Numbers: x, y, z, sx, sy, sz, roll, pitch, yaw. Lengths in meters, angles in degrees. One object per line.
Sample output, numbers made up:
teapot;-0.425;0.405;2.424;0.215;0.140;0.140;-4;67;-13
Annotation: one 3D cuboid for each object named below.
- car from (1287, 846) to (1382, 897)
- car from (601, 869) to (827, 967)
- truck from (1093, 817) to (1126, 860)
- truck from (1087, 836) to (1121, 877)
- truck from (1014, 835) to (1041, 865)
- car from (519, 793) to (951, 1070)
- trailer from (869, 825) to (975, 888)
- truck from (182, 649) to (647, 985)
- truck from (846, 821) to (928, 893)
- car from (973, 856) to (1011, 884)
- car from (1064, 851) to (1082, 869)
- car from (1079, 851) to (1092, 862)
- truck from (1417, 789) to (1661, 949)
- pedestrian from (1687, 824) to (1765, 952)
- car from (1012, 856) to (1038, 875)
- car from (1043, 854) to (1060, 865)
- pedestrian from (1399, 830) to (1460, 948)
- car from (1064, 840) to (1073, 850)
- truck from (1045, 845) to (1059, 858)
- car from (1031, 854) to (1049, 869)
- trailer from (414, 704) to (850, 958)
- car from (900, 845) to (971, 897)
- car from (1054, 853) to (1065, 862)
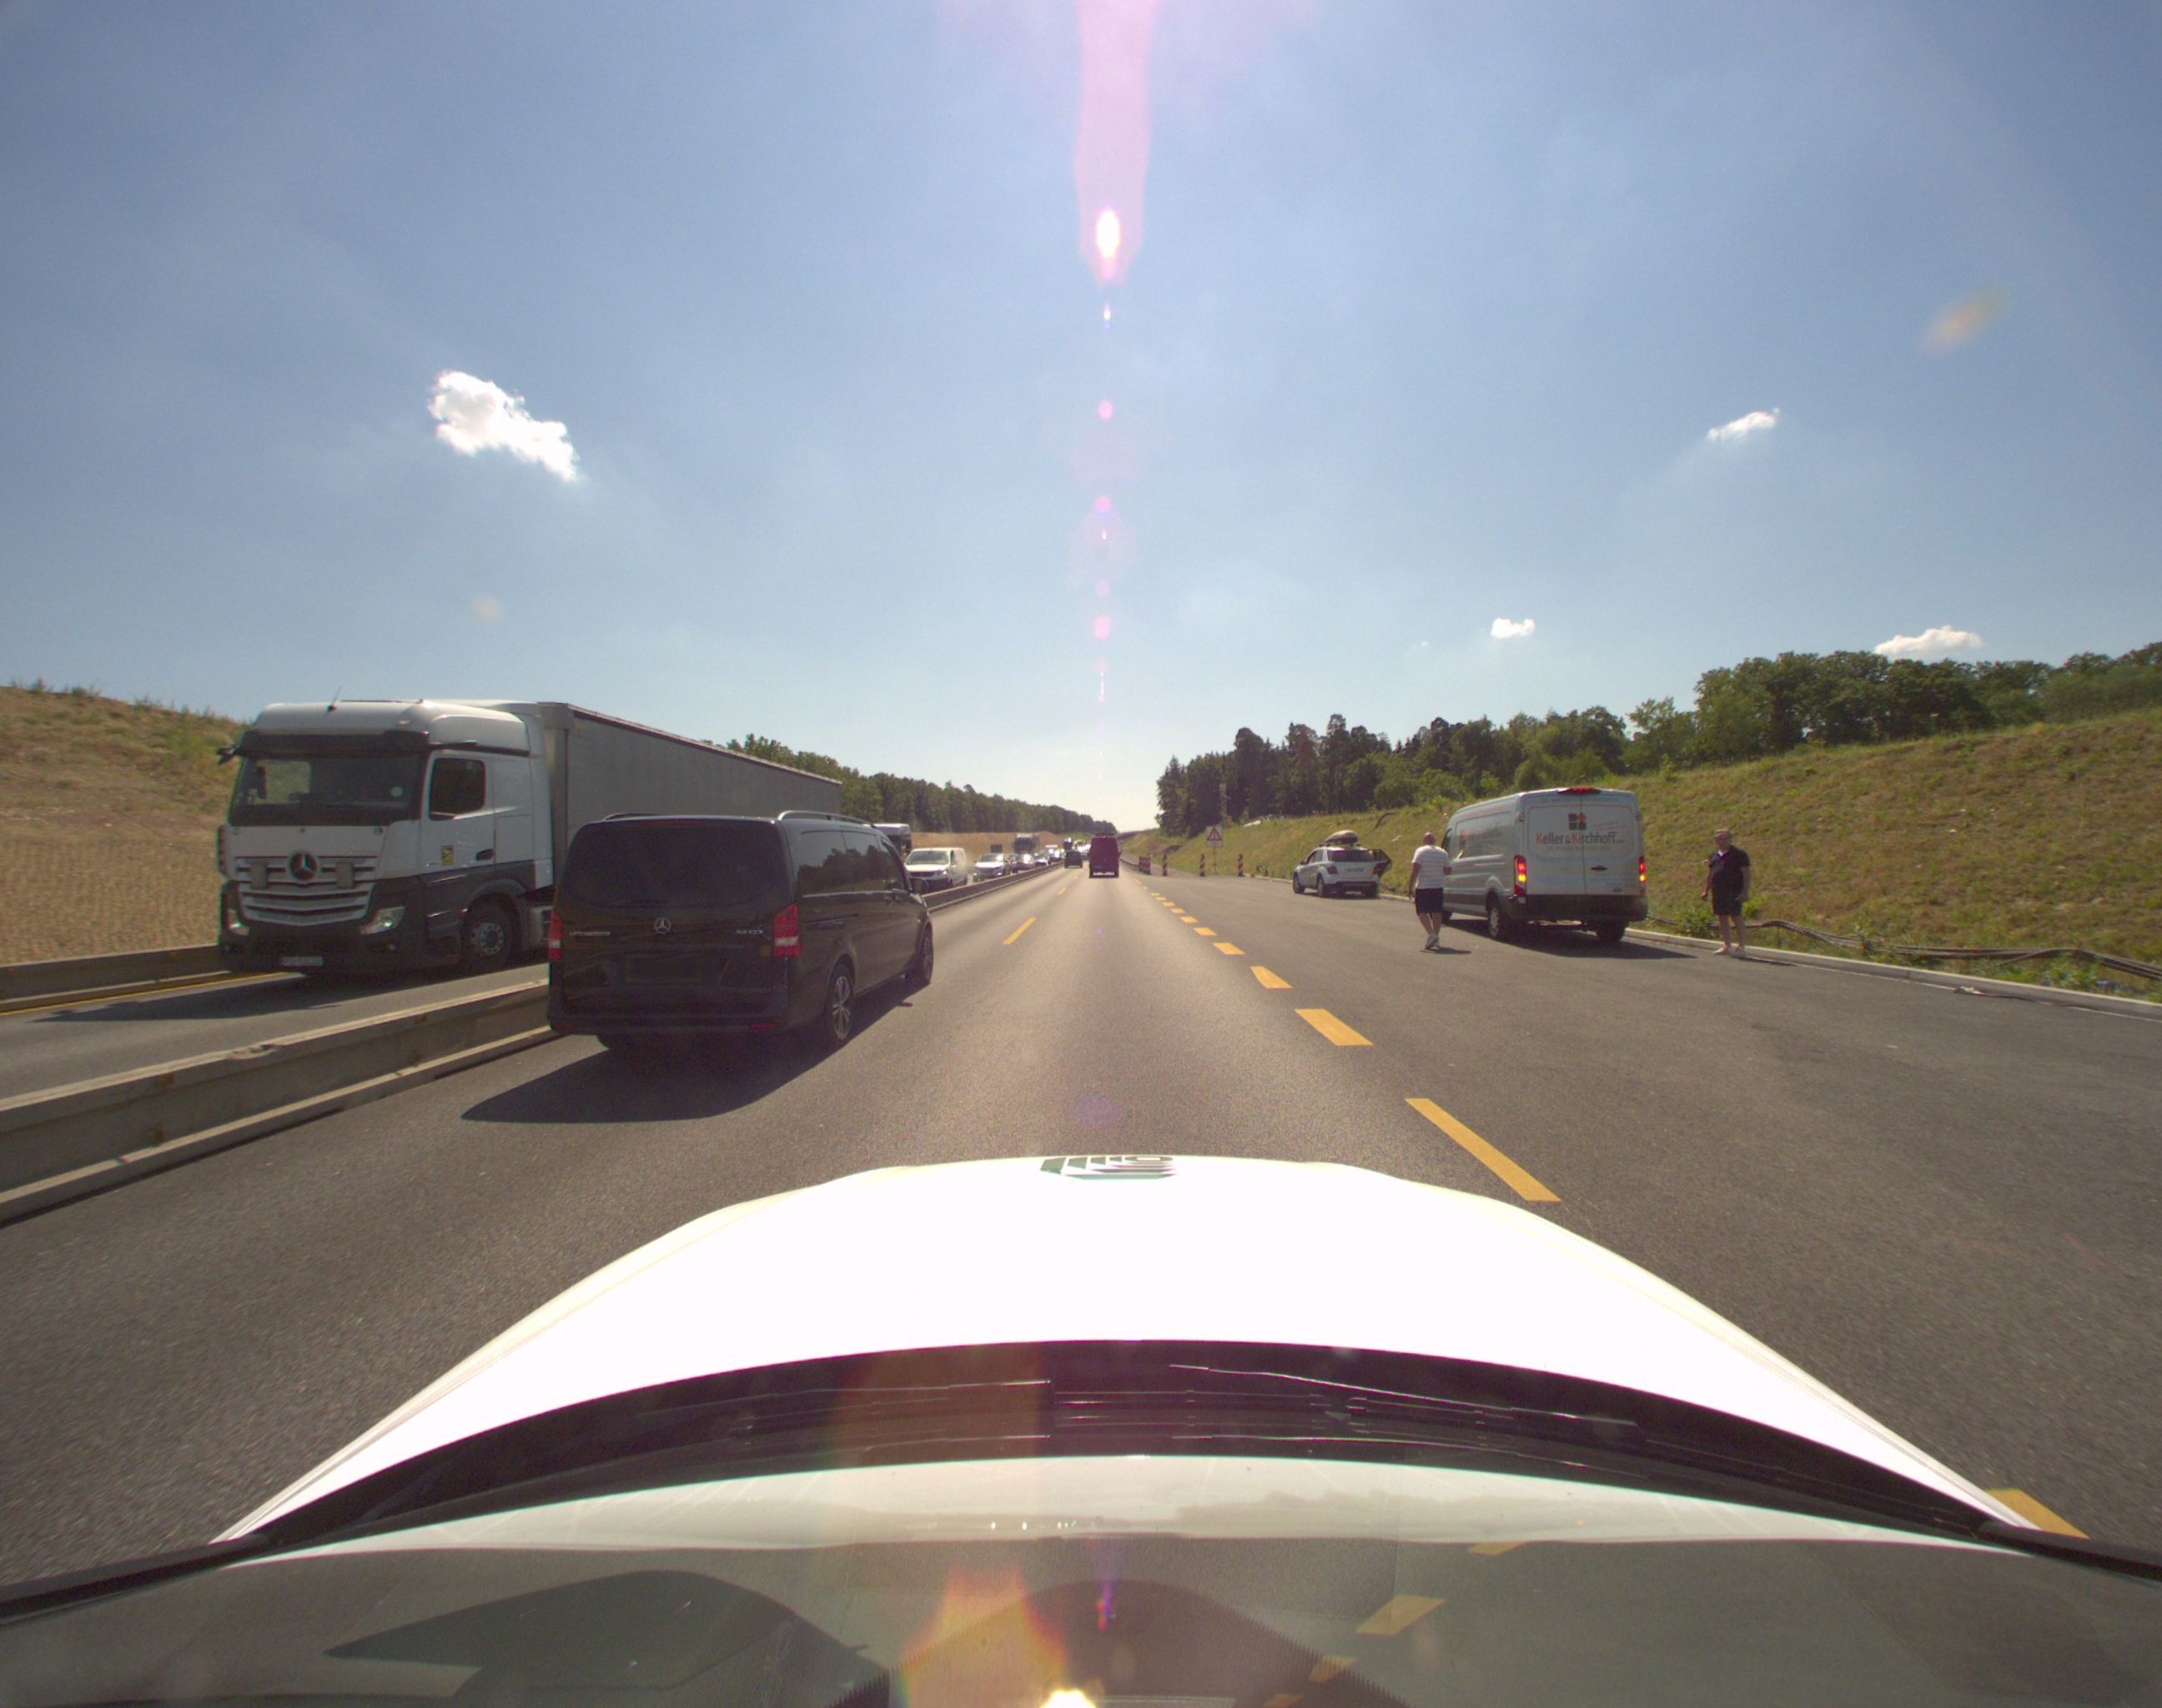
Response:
car;8.958;0.546;29.218;1.770;1.677;4.851;0;0;-2
car;-5.917;0.960;13.811;1.721;1.387;4.484;0;-1;1
truck;4.036;-1.996;116.405;4.384;5.496;16.607;0;-1;2
truck;1.548;0.228;54.794;2.145;2.590;5.334;0;-1;2
truck;-6.868;-0.393;105.926;2.499;3.617;9.645;0;-1;2
car;-2.762;0.544;8.212;1.867;1.851;5.480;0;-1;2
trailer;-8.452;0.193;45.716;2.337;2.932;15.278;0;-1;2
truck;-9.352;-0.396;12.293;2.758;4.044;4.945;0;-1;2
truck;-8.843;0.181;37.692;2.389;3.059;5.065;0;-1;2
car;-5.285;0.952;48.709;1.719;1.630;4.390;0;-1;0
car;-0.821;0.617;84.866;1.745;1.824;4.784;0;0;2
car;0.671;0.396;124.463;1.824;1.522;3.962;0;-1;2
truck;8.303;0.224;15.584;2.117;2.457;5.939;0;0;9
pedestrian;9.291;0.483;11.757;0.561;1.795;0.667;0;-2;0
car;-4.632;0.965;67.659;1.618;1.557;4.072;0;-1;3
car;-3.919;0.757;108.031;1.834;1.327;3.944;0;-1;3
pedestrian;5.587;0.555;13.094;0.719;1.828;0.721;0;-2;8
car;-3.525;-2.342;222.761;2.377;2.580;3.999;0;-1;0
truck;-5.778;-0.515;160.902;2.390;2.358;5.229;0;-1;2
car;-4.281;0.829;86.060;1.677;1.596;3.225;0;-1;1
trailer;-9.171;-0.351;19.961;2.780;4.075;13.714;0;0;1
car;-5.727;0.690;32.637;1.819;1.927;5.263;0;-1;1
car;-3.298;0.565;125.696;1.458;1.327;3.373;0;-1;3
